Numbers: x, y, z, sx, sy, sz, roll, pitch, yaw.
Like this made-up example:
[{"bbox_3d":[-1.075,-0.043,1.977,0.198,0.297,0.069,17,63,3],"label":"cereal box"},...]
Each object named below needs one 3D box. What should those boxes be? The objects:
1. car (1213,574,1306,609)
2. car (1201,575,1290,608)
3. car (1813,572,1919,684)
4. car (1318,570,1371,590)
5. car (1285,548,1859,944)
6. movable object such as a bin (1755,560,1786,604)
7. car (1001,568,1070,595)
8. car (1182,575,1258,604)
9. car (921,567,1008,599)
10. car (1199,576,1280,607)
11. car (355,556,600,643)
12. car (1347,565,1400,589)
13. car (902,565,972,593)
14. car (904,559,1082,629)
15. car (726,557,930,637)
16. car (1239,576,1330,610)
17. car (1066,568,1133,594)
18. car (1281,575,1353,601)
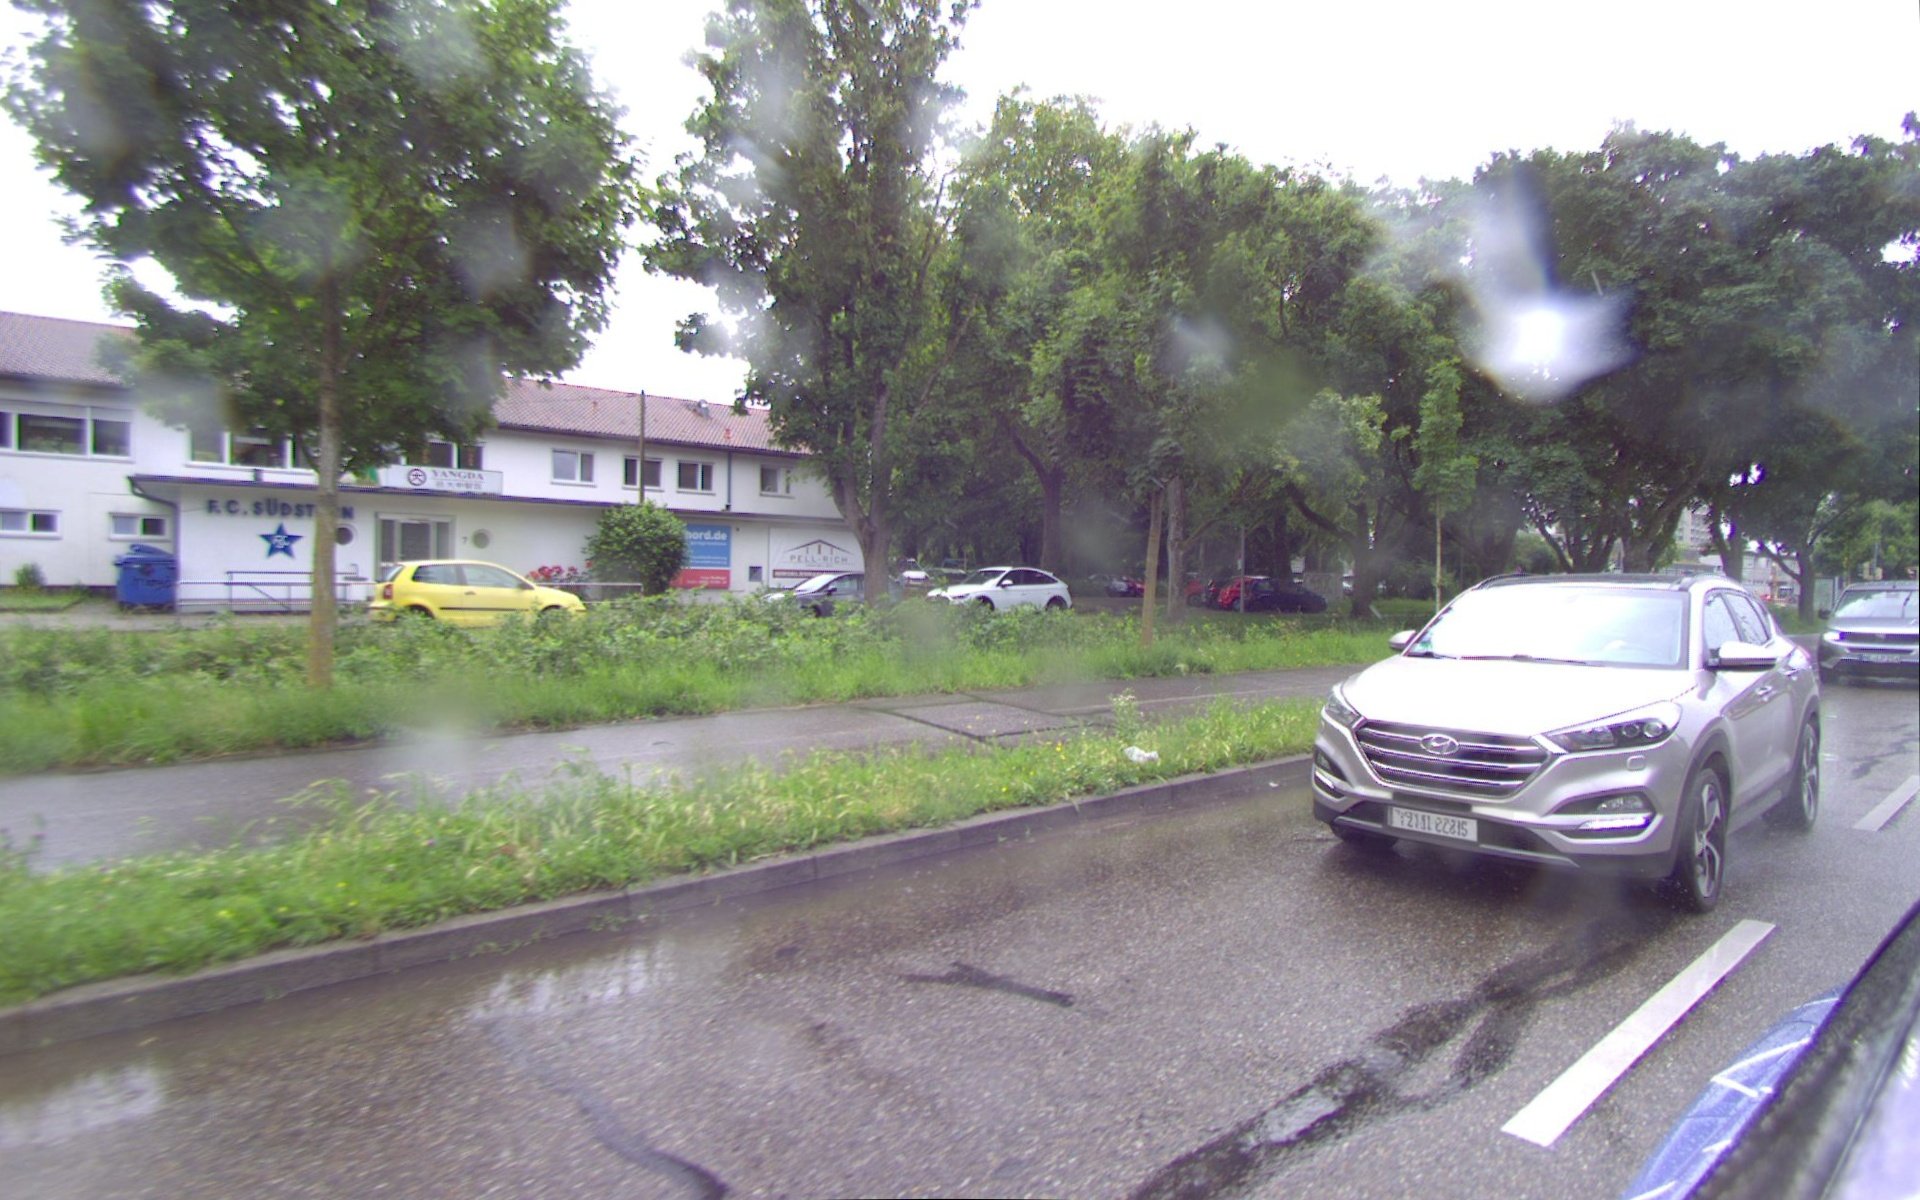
[{"bbox_3d":[13.365,-0.385,45.298,3.681,1.467,1.669,-1,0,1],"label":"car"},{"bbox_3d":[13.380,-0.403,47.576,3.681,1.467,1.669,-1,0,1],"label":"car"},{"bbox_3d":[17.051,0.429,18.074,4.480,1.818,1.998,-1,1,-39],"label":"car"},{"bbox_3d":[31.076,-1.599,81.848,1.688,1.617,3.669,-1,0,-35],"label":"car"},{"bbox_3d":[3.959,0.563,6.243,4.123,1.630,1.887,-1,1,-41],"label":"car"},{"bbox_3d":[83.457,-1.874,104.168,3.836,4.482,1.558,-1,0,-37],"label":"movable object such as a bin"},{"bbox_3d":[4.585,-1.109,61.838,1.885,1.630,4.295,-1,0,-37],"label":"car"},{"bbox_3d":[13.457,-0.538,52.593,3.691,1.467,1.599,-1,0,10],"label":"car"},{"bbox_3d":[0.243,-0.775,46.652,3.930,1.403,1.586,-1,0,-41],"label":"car"},{"bbox_3d":[13.878,-0.432,50.463,3.691,1.467,1.665,-1,0,10],"label":"car"},{"bbox_3d":[-9.215,-0.030,19.498,4.002,1.505,1.640,-1,0,-41],"label":"car"},{"bbox_3d":[34.992,-1.931,85.790,1.885,1.989,4.203,-1,0,-17],"label":"car"},{"bbox_3d":[-1.306,-1.142,56.395,1.706,1.474,3.992,-1,0,-42],"label":"car"},{"bbox_3d":[0.969,-0.206,27.790,4.793,1.738,1.998,-1,3,-41],"label":"car"},{"bbox_3d":[-3.126,-0.133,24.484,4.560,1.738,1.998,-1,3,-41],"label":"car"},{"bbox_3d":[13.432,-0.292,42.076,3.330,1.369,1.522,-1,0,6],"label":"car"},{"bbox_3d":[9.119,-1.195,66.379,1.864,1.630,4.295,-1,0,-37],"label":"car"},{"bbox_3d":[22.035,-0.726,62.589,1.845,1.544,4.004,-1,0,-30],"label":"car"}]
